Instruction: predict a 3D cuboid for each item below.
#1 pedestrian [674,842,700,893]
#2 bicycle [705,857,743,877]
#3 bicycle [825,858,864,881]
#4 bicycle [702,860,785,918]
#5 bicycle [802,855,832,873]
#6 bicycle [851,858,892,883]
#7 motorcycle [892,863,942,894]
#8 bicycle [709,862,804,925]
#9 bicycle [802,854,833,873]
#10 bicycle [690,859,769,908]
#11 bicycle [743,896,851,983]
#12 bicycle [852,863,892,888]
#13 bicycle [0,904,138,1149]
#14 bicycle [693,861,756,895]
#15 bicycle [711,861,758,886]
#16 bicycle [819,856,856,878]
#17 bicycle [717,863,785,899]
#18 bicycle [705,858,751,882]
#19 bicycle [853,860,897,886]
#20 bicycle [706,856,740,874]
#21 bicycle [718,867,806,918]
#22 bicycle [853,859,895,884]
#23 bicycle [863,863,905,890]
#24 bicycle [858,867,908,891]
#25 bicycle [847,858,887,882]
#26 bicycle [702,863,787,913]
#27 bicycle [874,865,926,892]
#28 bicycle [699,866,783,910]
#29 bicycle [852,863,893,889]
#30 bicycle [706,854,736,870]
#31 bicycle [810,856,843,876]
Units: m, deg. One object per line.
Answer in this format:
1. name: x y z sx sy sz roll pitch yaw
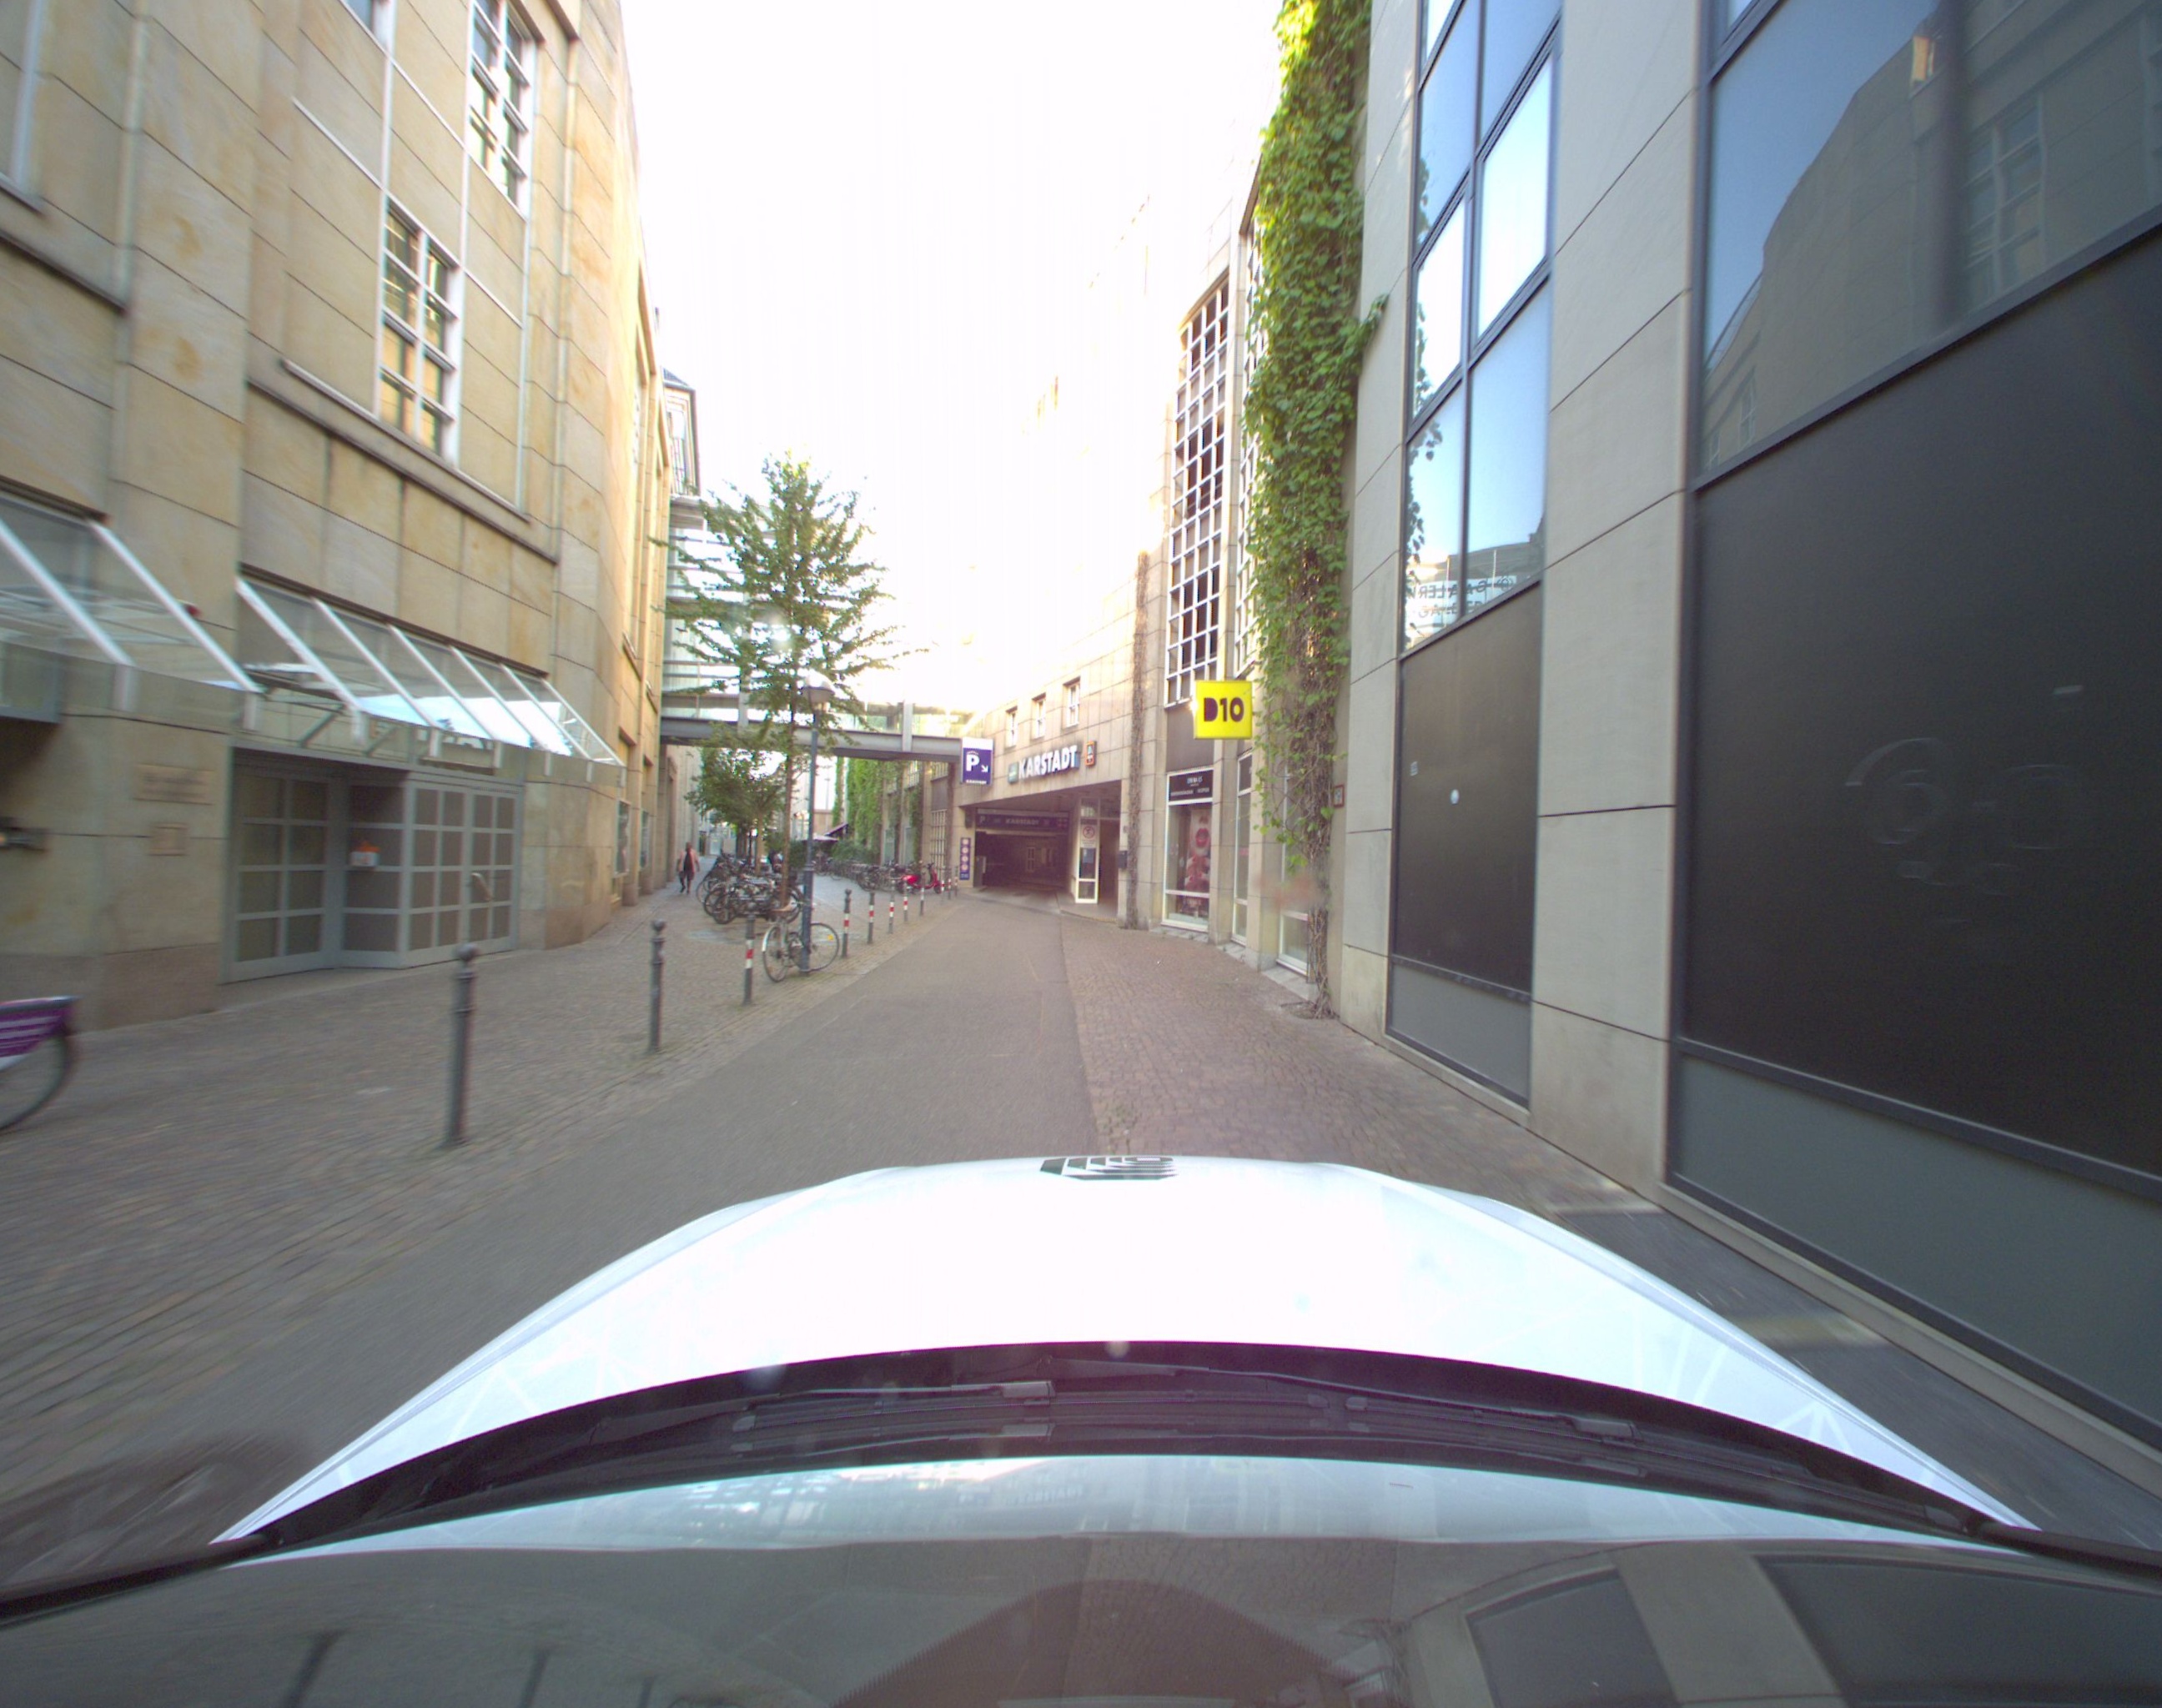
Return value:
1. pedestrian: -12.547 0.430 25.942 0.701 1.582 0.713 1 0 -25
2. bicycle: -19.992 0.718 45.651 1.914 1.112 0.477 1 0 -26
3. bicycle: -11.946 0.797 41.142 1.781 1.114 0.538 1 0 -24
4. bicycle: -7.458 0.765 18.001 1.662 1.231 0.530 1 0 -26
5. bicycle: -17.113 0.648 52.764 1.781 1.079 0.582 1 0 -24
6. bicycle: -9.786 0.775 37.996 1.781 1.114 0.538 1 0 -24
7. motorcycle: -5.826 0.874 29.001 1.670 1.050 0.460 1 0 -24
8. bicycle: -6.677 0.801 16.773 1.775 1.231 0.530 1 0 -26
9. bicycle: -16.765 0.611 51.800 1.781 1.190 0.582 1 0 -24
10. bicycle: -9.028 0.741 20.949 1.842 1.225 0.530 1 0 -26
11. bicycle: -3.638 1.067 10.568 0.489 0.939 1.664 3 0 12
12. bicycle: -8.881 0.915 34.603 1.546 1.049 0.571 1 0 -24
13. bicycle: -5.546 0.847 3.576 0.518 1.138 1.771 1 0 13
14. bicycle: -11.517 0.773 26.330 1.834 1.043 0.530 1 0 -26
15. bicycle: -14.750 0.822 34.674 1.789 1.019 0.477 1 0 -26
16. bicycle: -12.824 0.693 42.890 1.781 1.114 0.538 1 0 -24
17. bicycle: -9.984 0.810 24.672 1.886 1.043 0.530 1 0 -26
18. bicycle: -15.366 0.696 35.472 1.789 1.019 0.477 1 0 -26
19. bicycle: -9.042 0.825 35.768 1.781 1.114 0.538 1 0 -24
20. bicycle: -21.817 0.675 49.652 1.914 1.112 0.477 1 0 -26
21. bicycle: -7.393 0.878 18.897 1.846 1.122 0.530 1 0 -26
22. bicycle: -9.360 0.793 36.821 1.781 1.114 0.538 1 0 -24
23. bicycle: -7.819 0.884 32.298 1.546 1.049 0.571 1 0 -24
24. bicycle: -7.624 0.948 31.360 1.781 0.904 0.460 1 0 -24
25. bicycle: -10.236 0.750 39.043 1.781 1.114 0.538 1 0 -24
26. bicycle: -8.170 0.807 19.800 1.882 1.177 0.530 1 0 -26
27. bicycle: -6.782 0.918 30.564 1.856 0.982 0.460 1 0 -24
28. bicycle: -8.477 0.835 20.310 1.904 1.052 0.530 1 0 -26
29. bicycle: -8.501 0.896 33.231 1.546 1.049 0.571 1 0 -24
30. bicycle: -26.025 0.589 58.871 1.914 1.112 0.477 1 0 -27
31. bicycle: -14.611 0.675 46.746 1.780 1.114 0.539 1 0 -21
